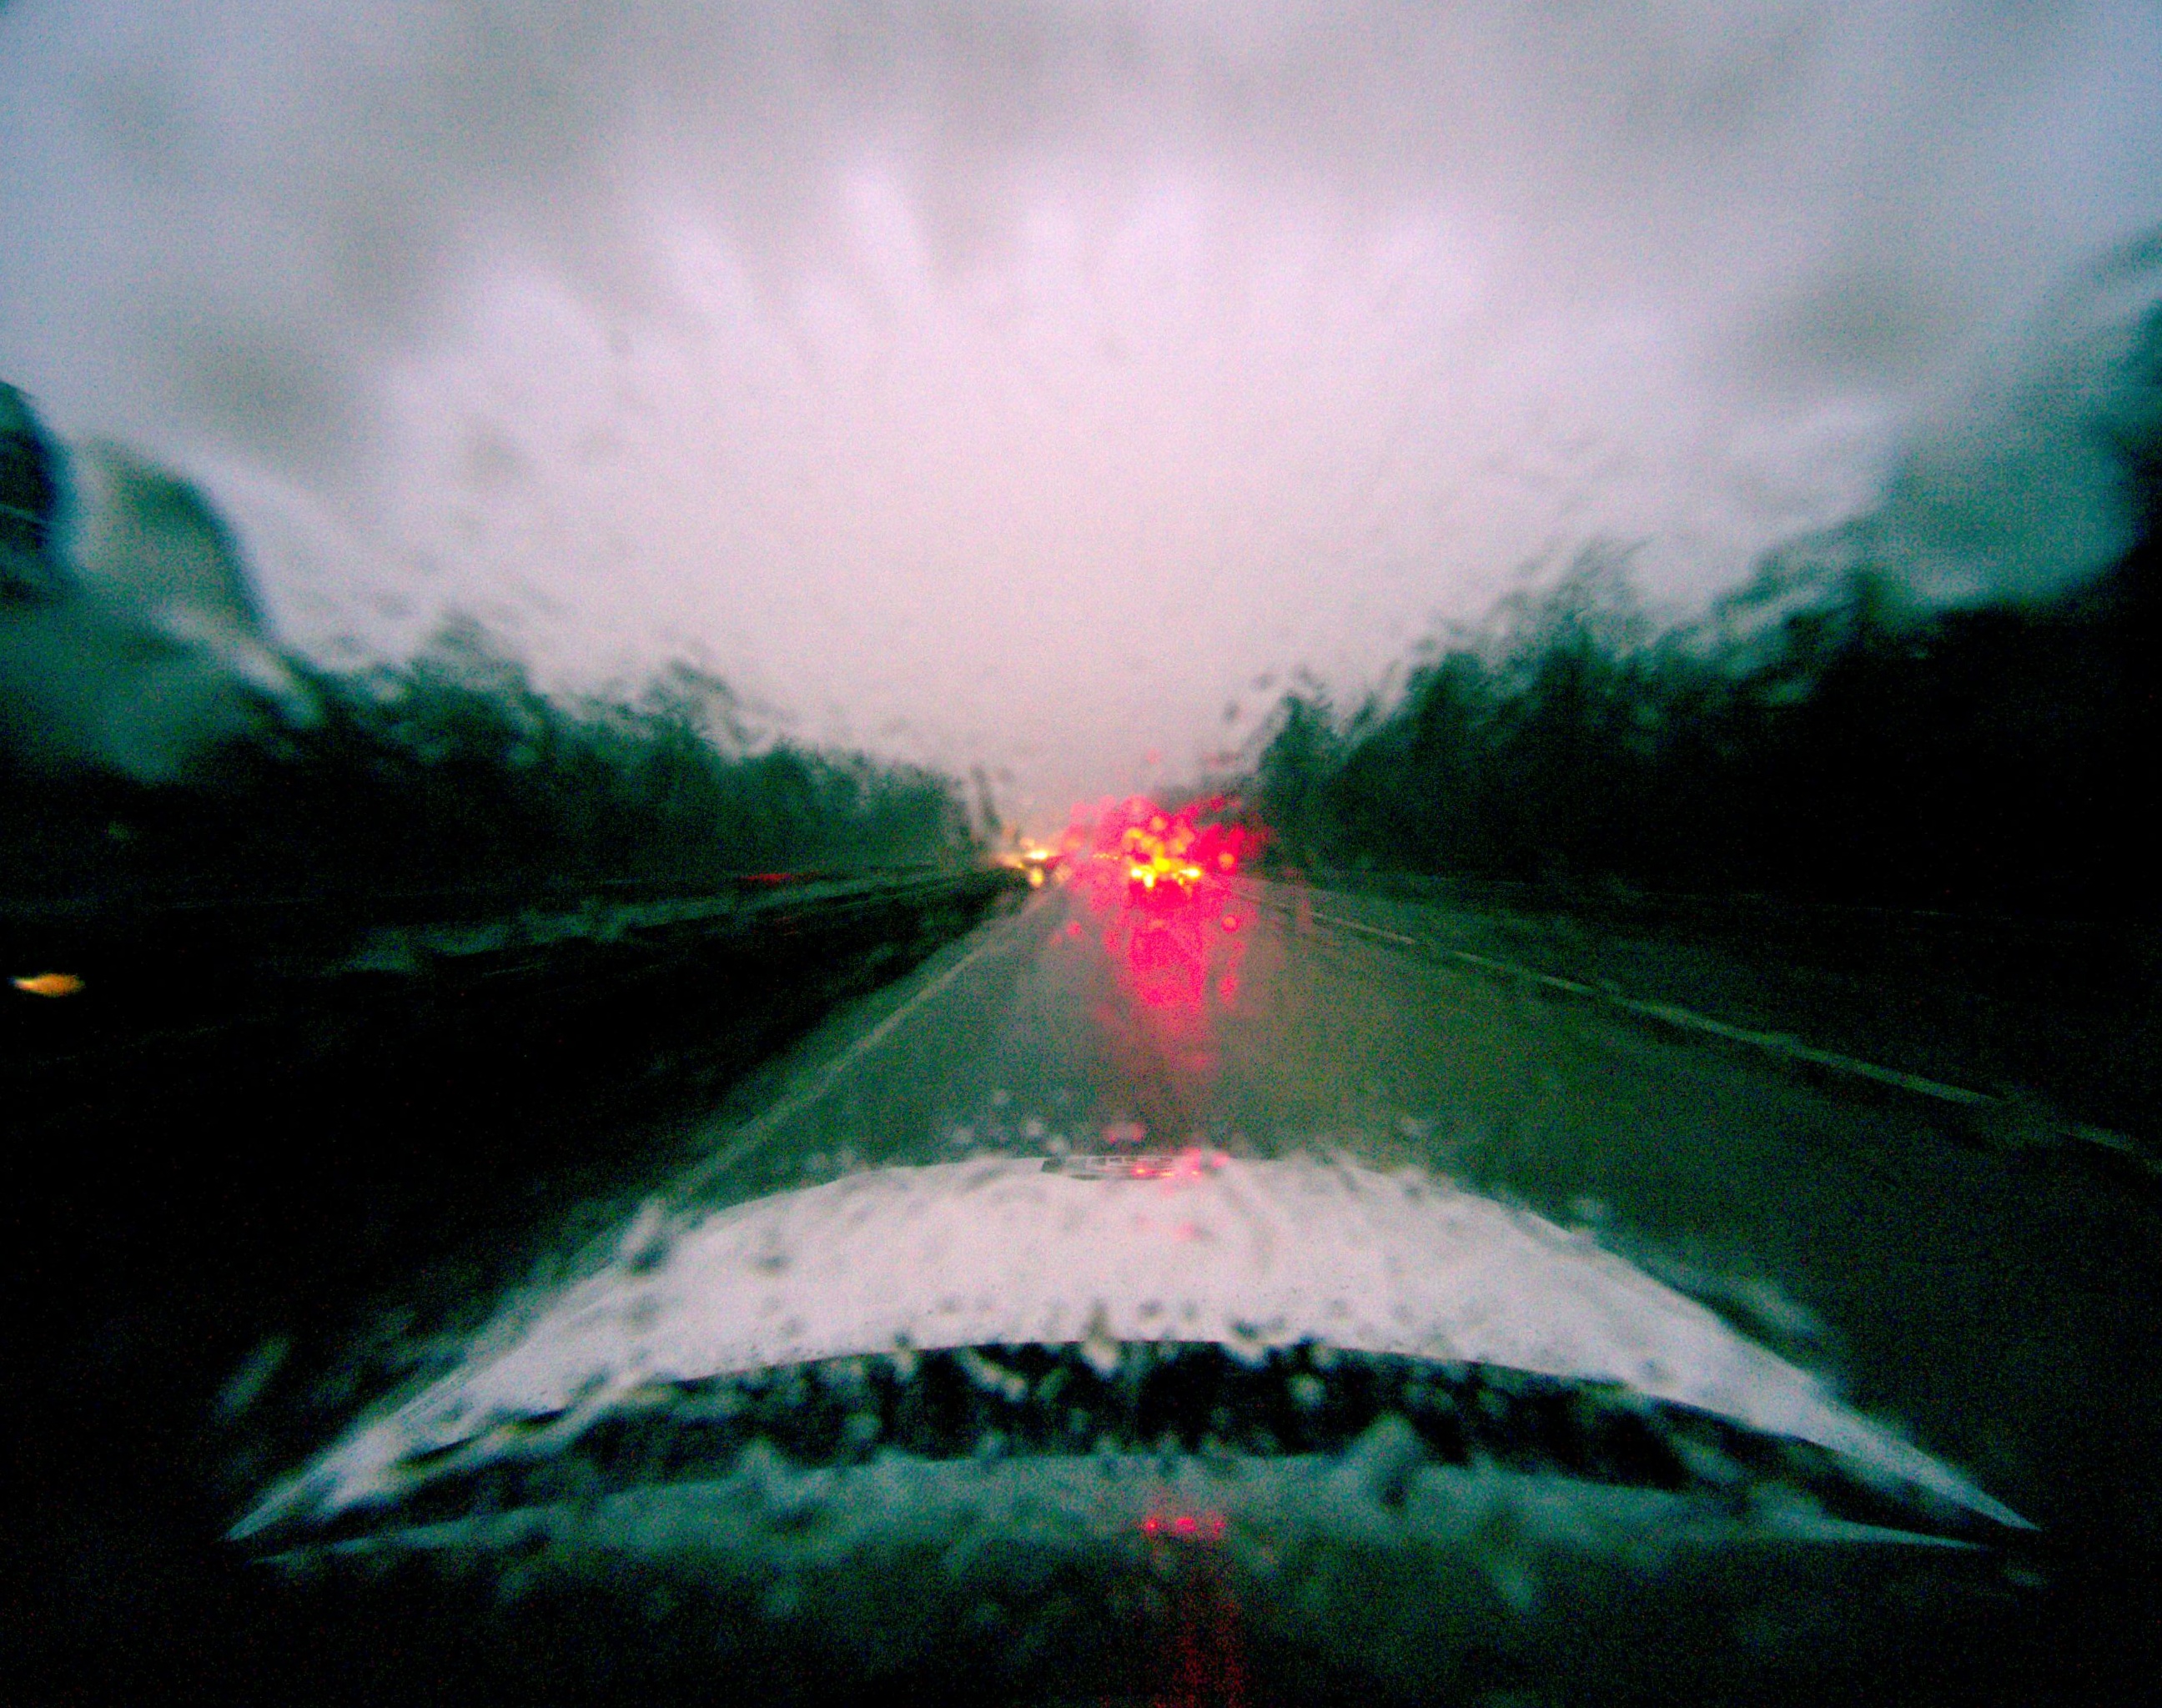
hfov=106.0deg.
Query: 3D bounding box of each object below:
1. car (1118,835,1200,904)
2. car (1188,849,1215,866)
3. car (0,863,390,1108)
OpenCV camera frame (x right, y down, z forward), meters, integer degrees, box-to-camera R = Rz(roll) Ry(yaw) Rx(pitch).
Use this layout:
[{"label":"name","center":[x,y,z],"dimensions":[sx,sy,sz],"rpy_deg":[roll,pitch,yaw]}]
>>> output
[{"label":"car","center":[2.147,0.411,23.347],"dimensions":[1.918,1.791,3.939],"rpy_deg":[0,-1,-1]},{"label":"car","center":[10.569,0.322,71.482],"dimensions":[1.858,1.418,4.001],"rpy_deg":[-1,-1,1]},{"label":"car","center":[-8.013,0.892,6.077],"dimensions":[1.827,1.549,4.528],"rpy_deg":[-1,0,0]}]
